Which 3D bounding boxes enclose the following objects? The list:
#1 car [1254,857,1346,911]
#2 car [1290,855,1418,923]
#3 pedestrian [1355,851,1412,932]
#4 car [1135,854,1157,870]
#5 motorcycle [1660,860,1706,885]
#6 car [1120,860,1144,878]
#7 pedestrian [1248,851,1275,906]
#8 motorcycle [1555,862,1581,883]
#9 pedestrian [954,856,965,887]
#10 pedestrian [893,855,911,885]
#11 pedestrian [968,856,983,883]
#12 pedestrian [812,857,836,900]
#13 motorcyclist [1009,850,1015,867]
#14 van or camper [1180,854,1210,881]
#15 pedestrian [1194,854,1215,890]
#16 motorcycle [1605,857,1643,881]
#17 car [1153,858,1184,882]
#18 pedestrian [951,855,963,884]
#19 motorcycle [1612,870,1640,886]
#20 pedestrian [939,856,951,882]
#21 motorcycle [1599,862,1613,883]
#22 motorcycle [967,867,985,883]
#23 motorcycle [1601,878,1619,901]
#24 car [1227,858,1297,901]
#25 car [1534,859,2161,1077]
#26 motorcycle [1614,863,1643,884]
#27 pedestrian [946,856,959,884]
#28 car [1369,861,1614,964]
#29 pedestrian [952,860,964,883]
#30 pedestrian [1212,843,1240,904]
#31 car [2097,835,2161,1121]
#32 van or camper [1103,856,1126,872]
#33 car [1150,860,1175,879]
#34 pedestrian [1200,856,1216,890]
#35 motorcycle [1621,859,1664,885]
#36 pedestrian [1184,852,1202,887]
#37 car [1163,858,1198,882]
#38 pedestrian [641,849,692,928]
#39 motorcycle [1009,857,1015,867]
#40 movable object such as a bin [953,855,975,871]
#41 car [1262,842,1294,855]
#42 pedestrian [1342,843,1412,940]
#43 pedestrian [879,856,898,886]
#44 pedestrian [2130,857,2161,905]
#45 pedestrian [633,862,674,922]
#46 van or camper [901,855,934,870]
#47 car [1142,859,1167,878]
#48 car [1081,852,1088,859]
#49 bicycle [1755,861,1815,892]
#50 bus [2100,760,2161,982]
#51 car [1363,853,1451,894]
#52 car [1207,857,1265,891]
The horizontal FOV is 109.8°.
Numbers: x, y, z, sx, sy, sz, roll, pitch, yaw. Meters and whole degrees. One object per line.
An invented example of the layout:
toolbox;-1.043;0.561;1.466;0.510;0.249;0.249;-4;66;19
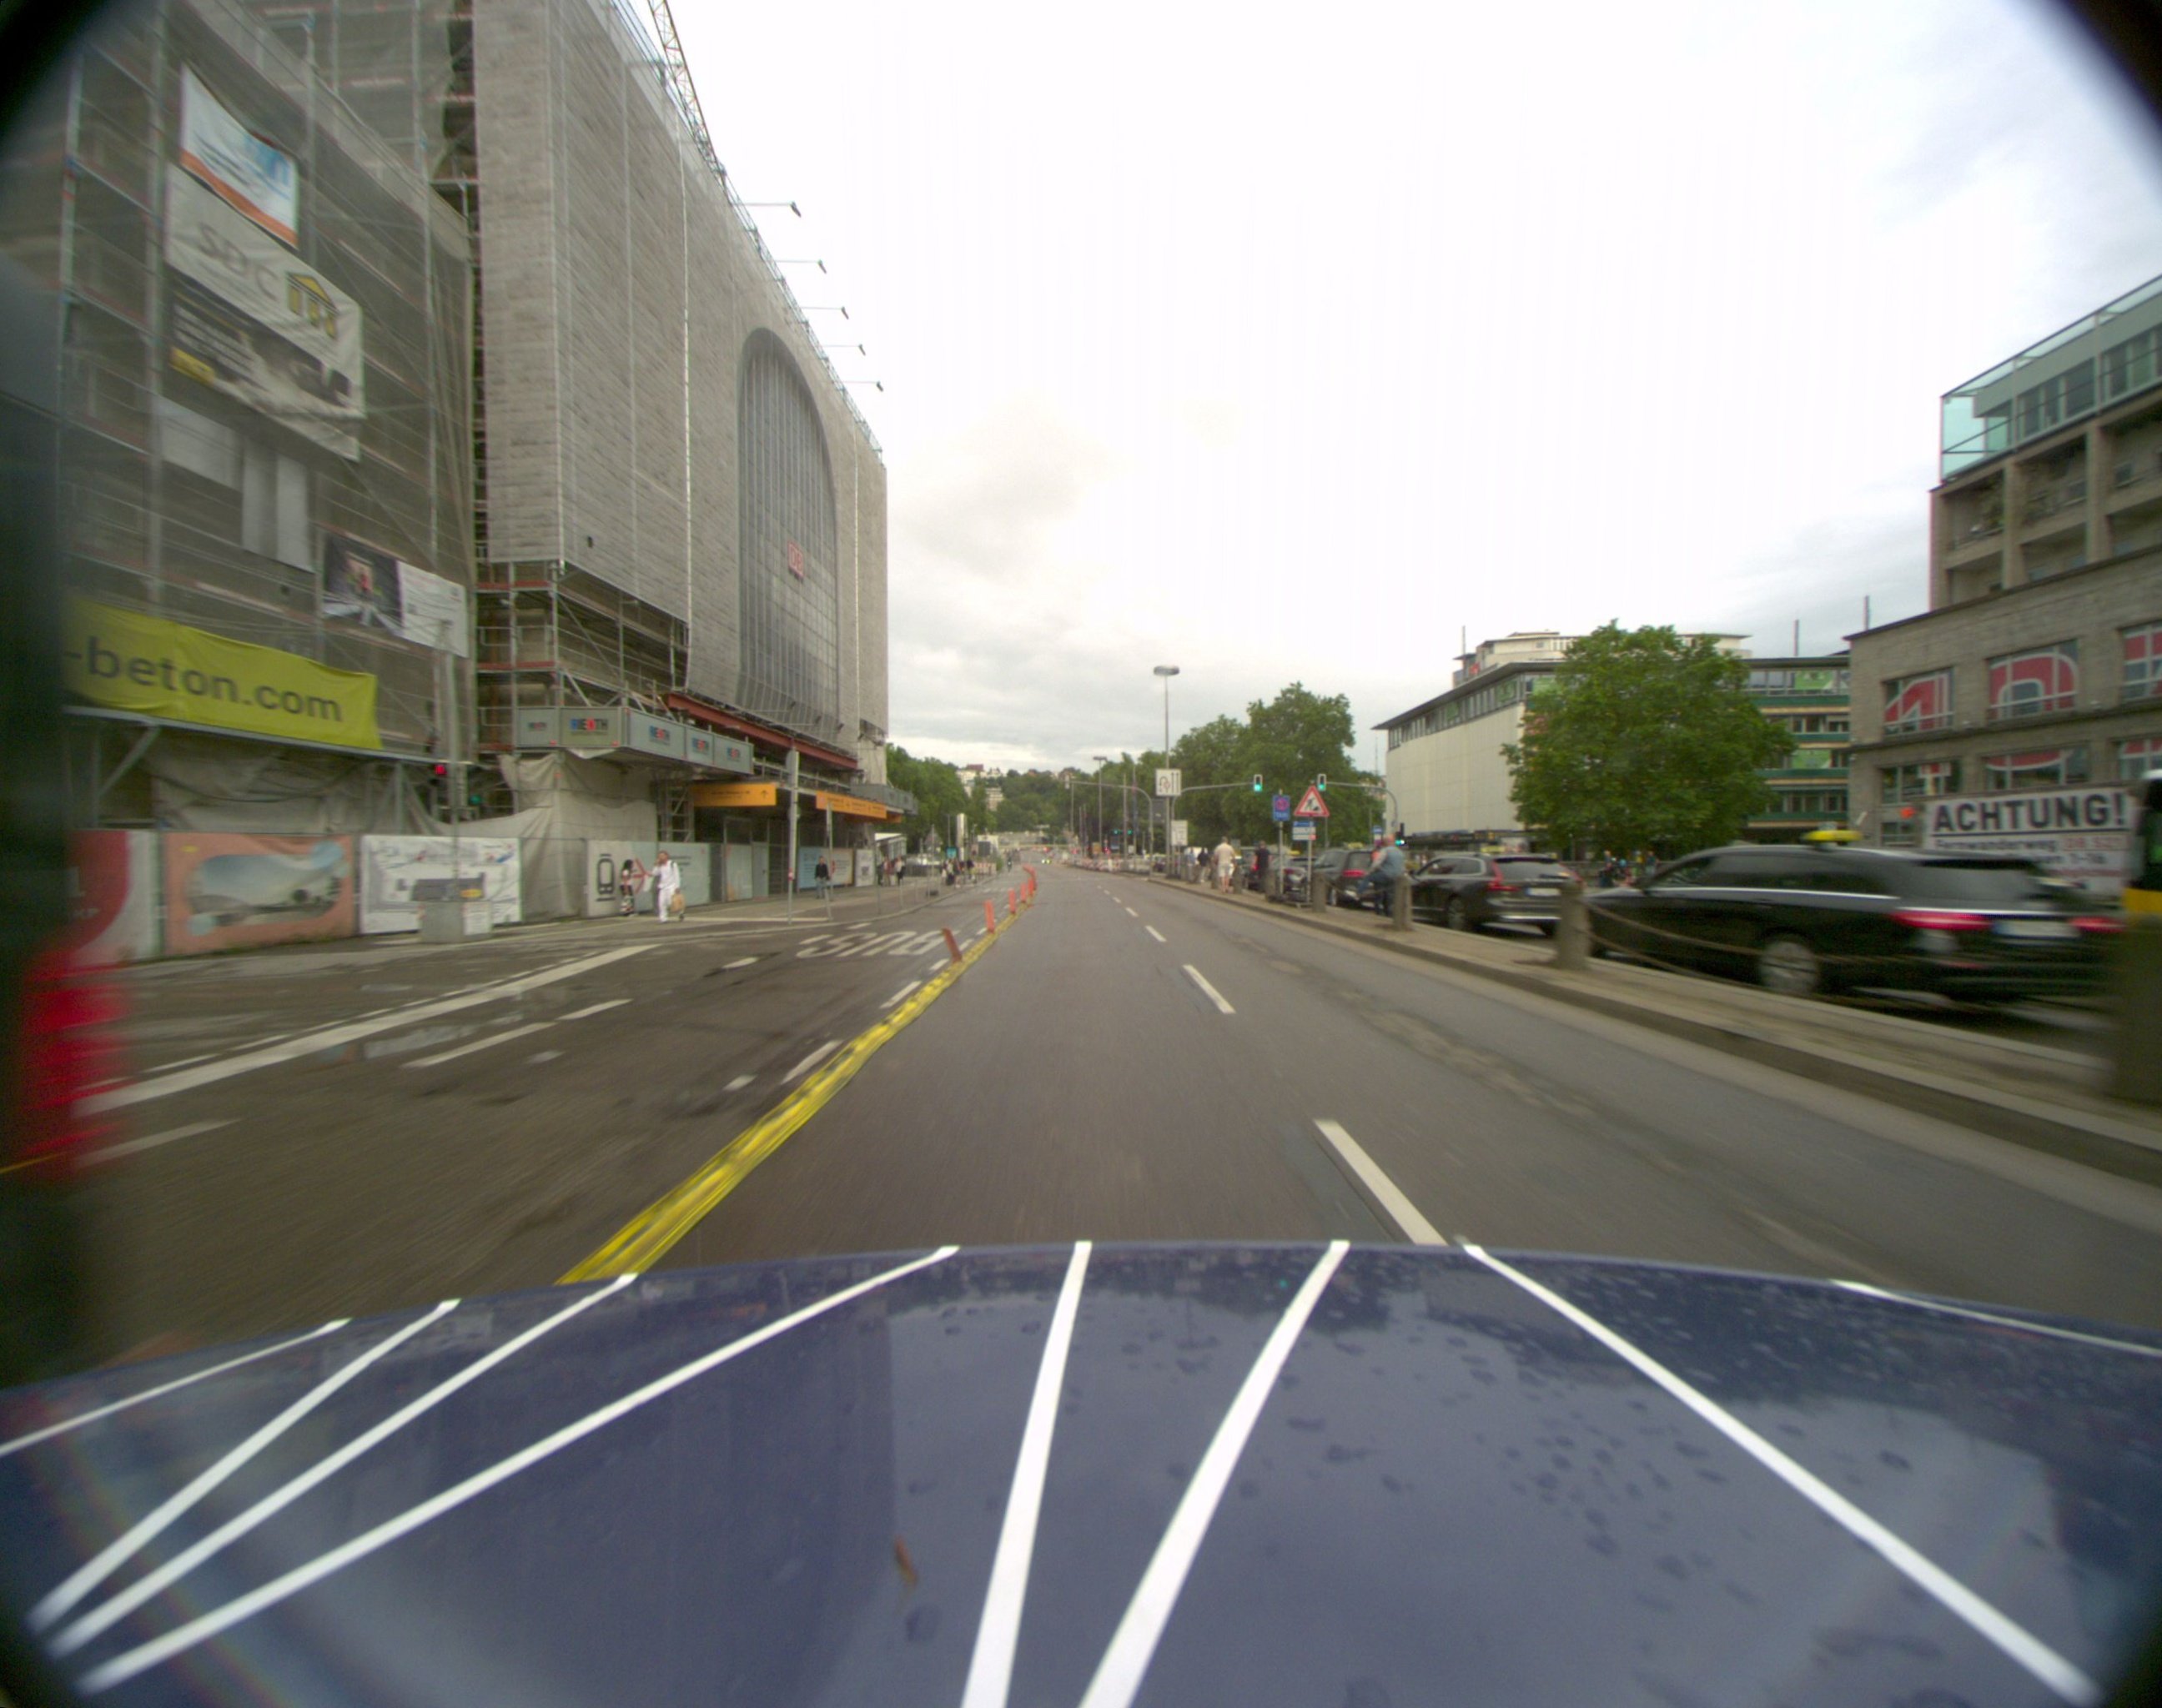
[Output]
car;7.716;0.994;27.227;1.934;1.680;4.682;1;0;0
car;7.530;0.883;21.487;1.934;1.680;4.682;1;0;0
pedestrian;6.212;0.756;15.657;0.724;1.597;0.996;-2;0;1
car;7.212;0.908;84.731;1.895;1.692;4.421;-2;0;-3
motorcycle;29.110;0.878;36.742;1.814;1.127;0.583;-1;0;-5
car;5.166;1.541;77.344;1.999;1.806;4.810;0;-1;-1
pedestrian;5.904;0.791;24.912;0.700;1.744;0.711;-1;0;1
motorcycle;26.090;0.988;40.737;0.477;1.040;1.625;-2;0;6
pedestrian;-7.012;1.003;43.817;0.560;1.749;0.751;2;0;-12
pedestrian;-10.213;0.921;43.272;0.738;1.668;0.957;2;0;0
pedestrian;-6.863;0.983;49.539;0.582;1.730;0.820;-1;0;-42
pedestrian;-9.974;0.933;29.495;0.550;1.623;0.995;2;0;1
motorcyclist;-8.209;0.558;90.730;0.726;2.024;0.587;0;-1;-6
van or camper;11.103;1.253;74.248;1.999;2.499;5.370;2;0;-1
pedestrian;6.164;0.907;37.932;0.784;1.765;0.606;2;0;-11
motorcycle;25.677;0.698;35.948;1.443;1.051;0.602;-2;0;-10
car;7.411;1.302;64.616;1.908;1.887;4.522;-2;0;-2
pedestrian;-7.585;0.943;46.543;0.559;1.741;0.711;2;0;2
motorcycle;35.716;1.569;49.796;0.532;1.040;1.717;-1;0;-2
pedestrian;-8.702;0.989;48.731;0.565;1.641;0.615;2;0;5
motorcycle;29.573;1.038;42.809;0.581;1.127;1.627;-2;0;34
motorcycle;-6.867;1.338;49.552;0.587;1.015;1.236;-1;0;-42
motorcycle;26.786;1.791;38.458;0.601;1.051;1.819;-2;0;38
car;7.782;1.045;33.100;1.934;1.680;4.682;1;0;0
car;7.359;0.873;8.203;1.934;1.567;5.012;1;0;0
motorcycle;29.209;1.050;40.559;0.582;1.051;1.625;-2;0;9
pedestrian;-7.674;0.970;45.296;0.559;1.631;0.752;2;0;2
car;7.600;0.959;14.850;1.934;1.567;5.260;1;0;0
pedestrian;-7.839;1.110;48.436;0.559;1.441;0.711;2;0;2
pedestrian;4.904;0.644;25.712;0.724;1.996;0.772;-2;0;1
car;7.222;0.739;2.052;1.981;1.649;5.192;1;0;0
van or camper;4.195;1.228;95.547;1.951;1.809;5.389;1;0;-7
car;7.557;1.456;70.683;1.788;1.712;4.483;0;-1;-2
pedestrian;6.448;0.981;38.615;0.653;1.701;0.593;-2;0;-1
motorcycle;28.631;0.929;38.738;1.957;1.220;0.695;-2;0;-18
pedestrian;5.756;0.776;39.050;0.558;1.765;0.754;2;0;35
car;7.630;1.222;58.437;1.908;1.689;4.499;-2;0;-2
pedestrian;-10.034;0.824;18.410;0.724;1.837;0.810;2;0;1
motorcycle;-8.201;0.968;90.630;0.730;1.221;2.160;0;-1;-6
movable object such as a bin;-10.840;0.817;70.371;1.299;1.483;1.537;0;0;29
car;33.302;-0.898;128.326;4.829;2.001;2.036;-2;-1;3
pedestrian;5.535;0.688;14.254;1.053;1.758;0.616;-1;1;0
pedestrian;-10.954;0.944;43.224;0.734;1.672;1.110;-1;0;3
pedestrian;25.474;0.638;17.896;0.630;1.103;0.696;-2;1;-12
pedestrian;-11.331;0.987;20.136;0.653;1.531;0.665;2;0;2
van or camper;-26.800;1.438;124.323;6.046;2.387;2.392;-1;-2;44
car;7.420;1.436;77.339;1.920;1.840;4.565;0;0;-3
car;0.769;0.371;167.653;1.682;1.533;3.174;0;-1;1
bicycle;29.268;0.930;31.592;2.094;1.174;0.596;-2;0;-7
bus;17.690;0.239;6.897;2.884;3.356;10.575;0;0;1
car;14.503;0.816;34.104;1.934;1.680;4.682;1;0;0
car;7.825;0.968;38.769;2.020;1.611;4.842;-1;0;1
